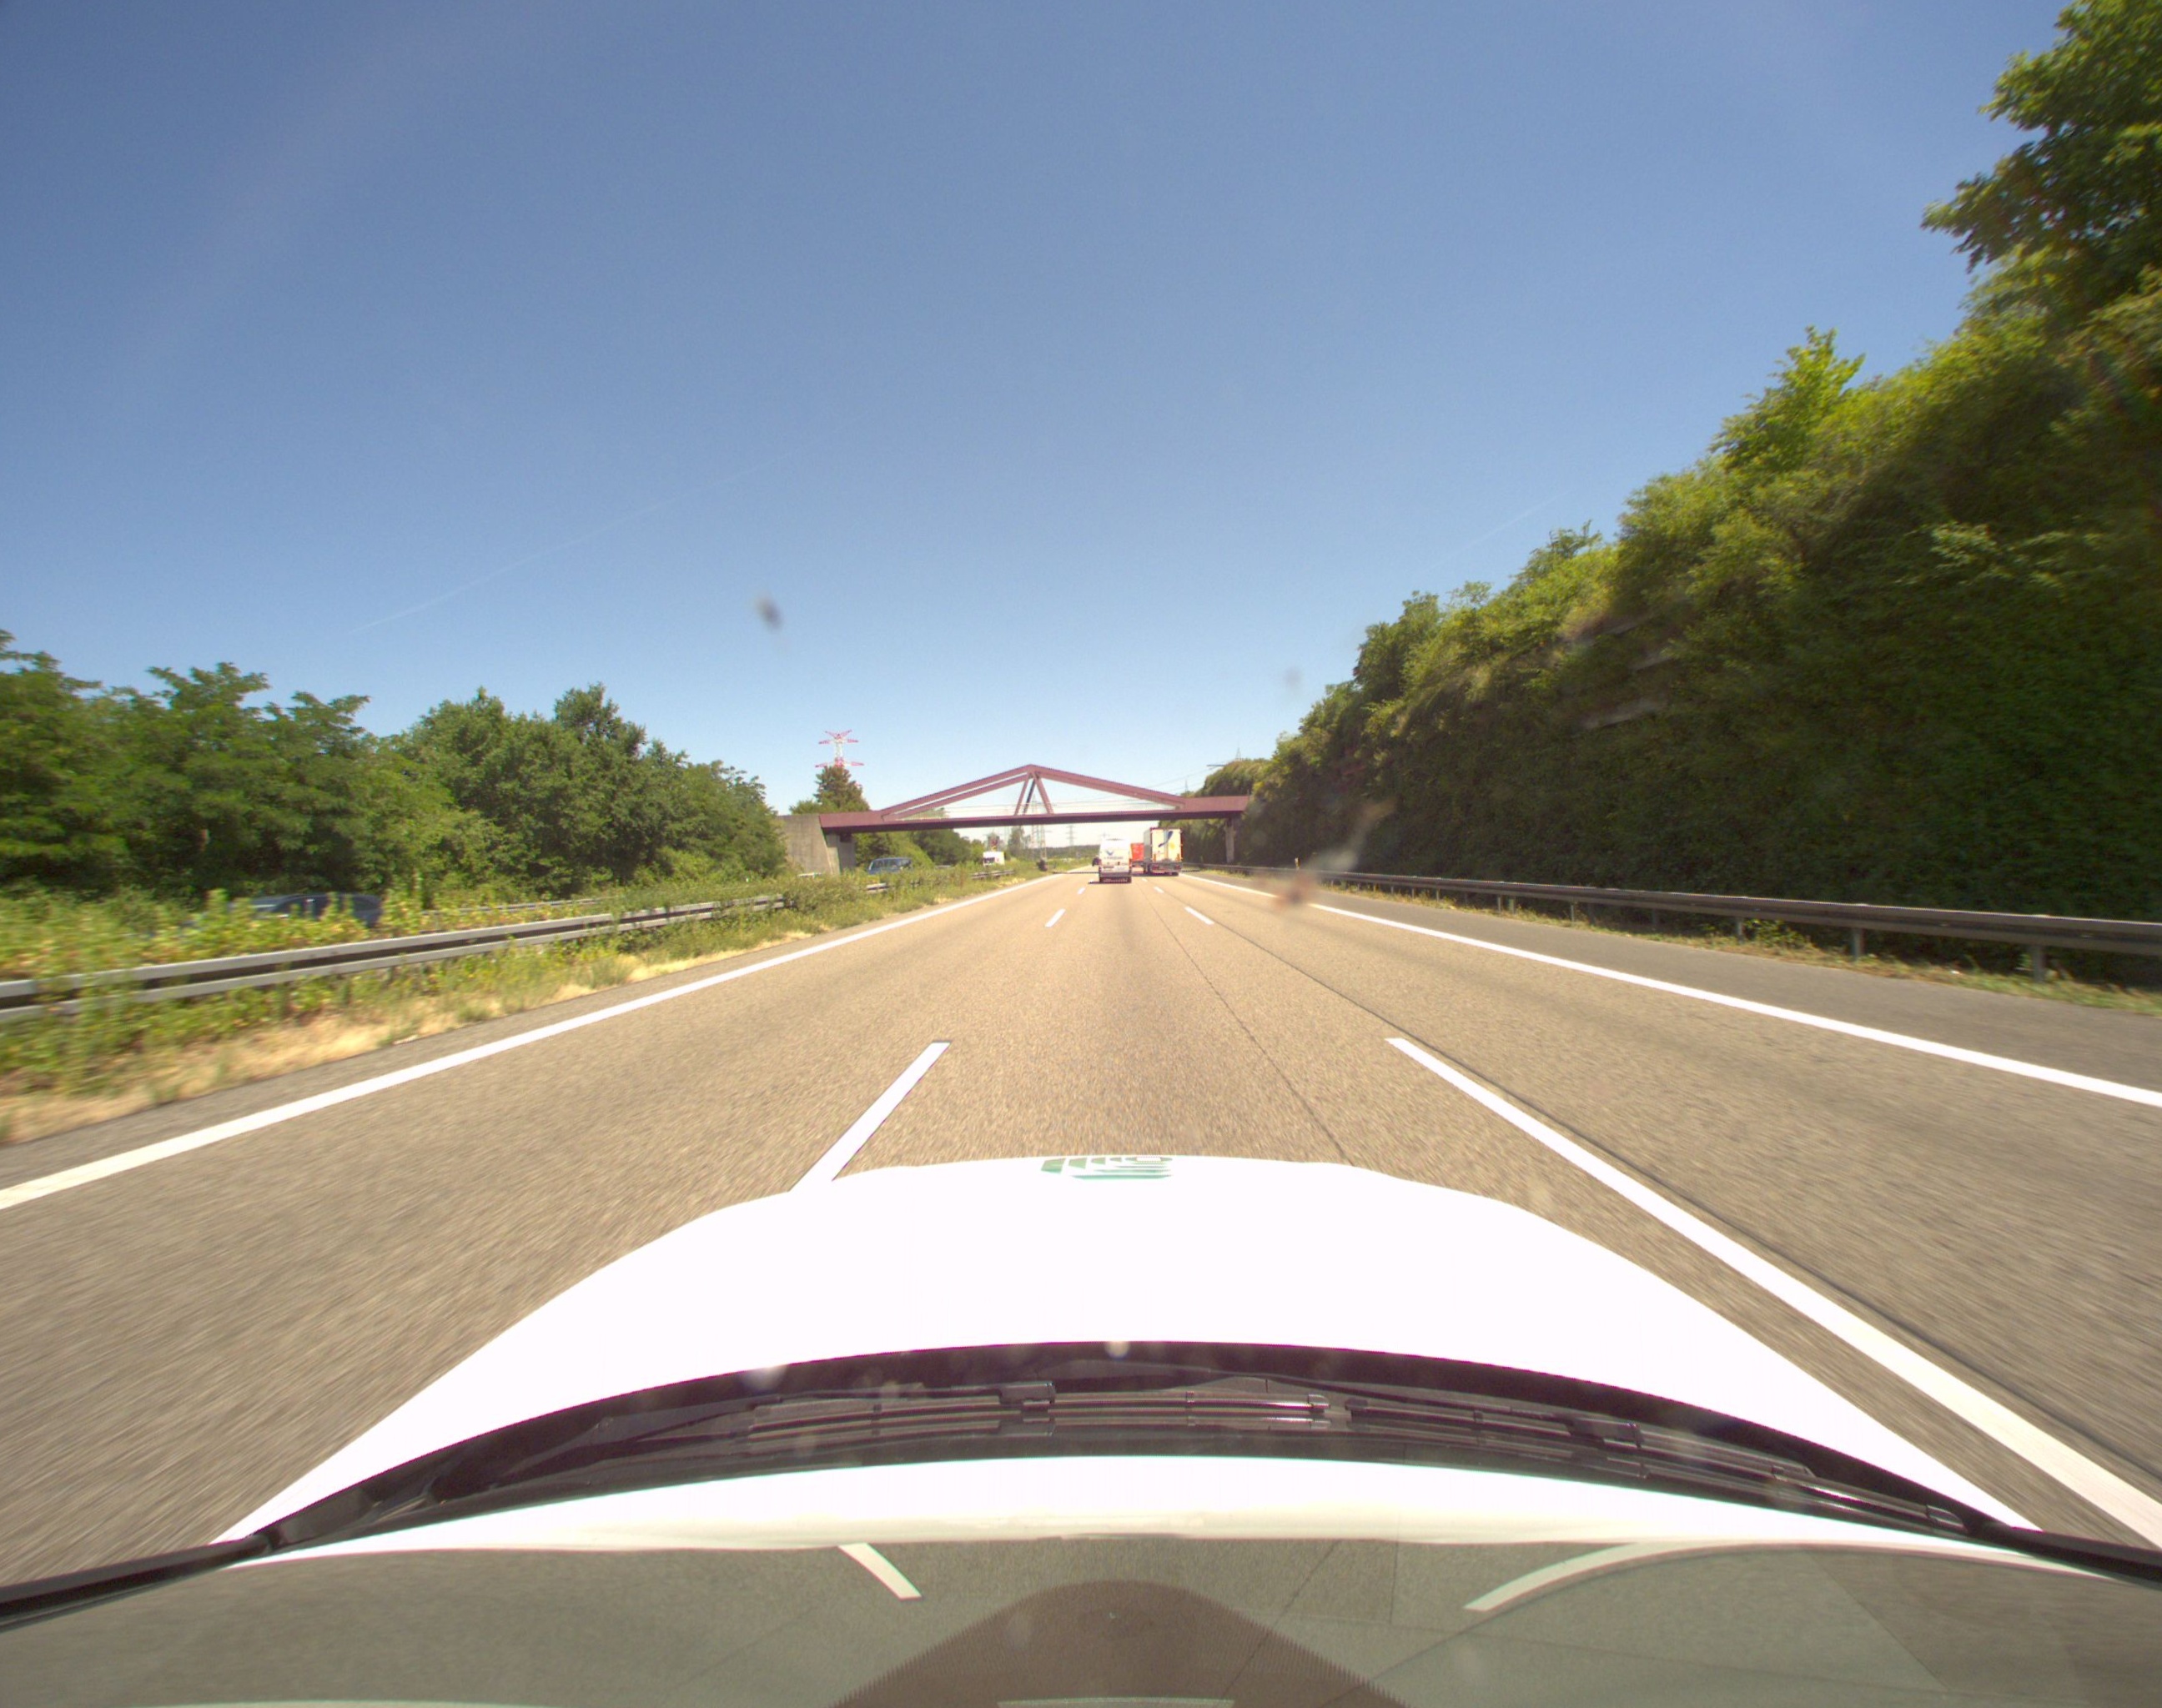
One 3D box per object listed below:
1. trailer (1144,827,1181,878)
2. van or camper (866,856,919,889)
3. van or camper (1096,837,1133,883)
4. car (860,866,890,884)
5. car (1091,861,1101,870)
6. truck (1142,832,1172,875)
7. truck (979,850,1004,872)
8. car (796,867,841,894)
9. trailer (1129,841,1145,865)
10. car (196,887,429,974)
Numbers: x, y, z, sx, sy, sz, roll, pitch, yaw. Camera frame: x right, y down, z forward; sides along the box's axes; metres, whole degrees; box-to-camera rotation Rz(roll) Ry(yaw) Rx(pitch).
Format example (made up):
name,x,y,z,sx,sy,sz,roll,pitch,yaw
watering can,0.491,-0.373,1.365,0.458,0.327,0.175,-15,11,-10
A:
name,x,y,z,sx,sy,sz,roll,pitch,yaw
trailer,7.033,-0.114,71.737,2.627,4.060,12.373,0,0,3
van or camper,-10.864,1.004,47.272,1.837,1.812,4.876,0,0,1
van or camper,2.119,0.364,51.543,2.222,2.782,5.425,0,0,2
car,-20.829,2.085,82.556,1.693,1.768,4.407,0,0,3
car,3.099,2.405,166.490,1.974,1.817,3.816,0,0,3
truck,7.412,-0.077,79.877,2.627,4.060,5.803,0,0,2
truck,-15.580,1.244,142.040,2.798,3.537,10.192,-3,0,2
car,-18.924,1.872,58.919,1.796,1.837,4.258,0,0,1
trailer,9.316,-0.098,136.047,2.627,3.897,7.073,0,0,2
car,-15.656,1.491,16.842,1.545,1.429,3.327,-3,0,2
